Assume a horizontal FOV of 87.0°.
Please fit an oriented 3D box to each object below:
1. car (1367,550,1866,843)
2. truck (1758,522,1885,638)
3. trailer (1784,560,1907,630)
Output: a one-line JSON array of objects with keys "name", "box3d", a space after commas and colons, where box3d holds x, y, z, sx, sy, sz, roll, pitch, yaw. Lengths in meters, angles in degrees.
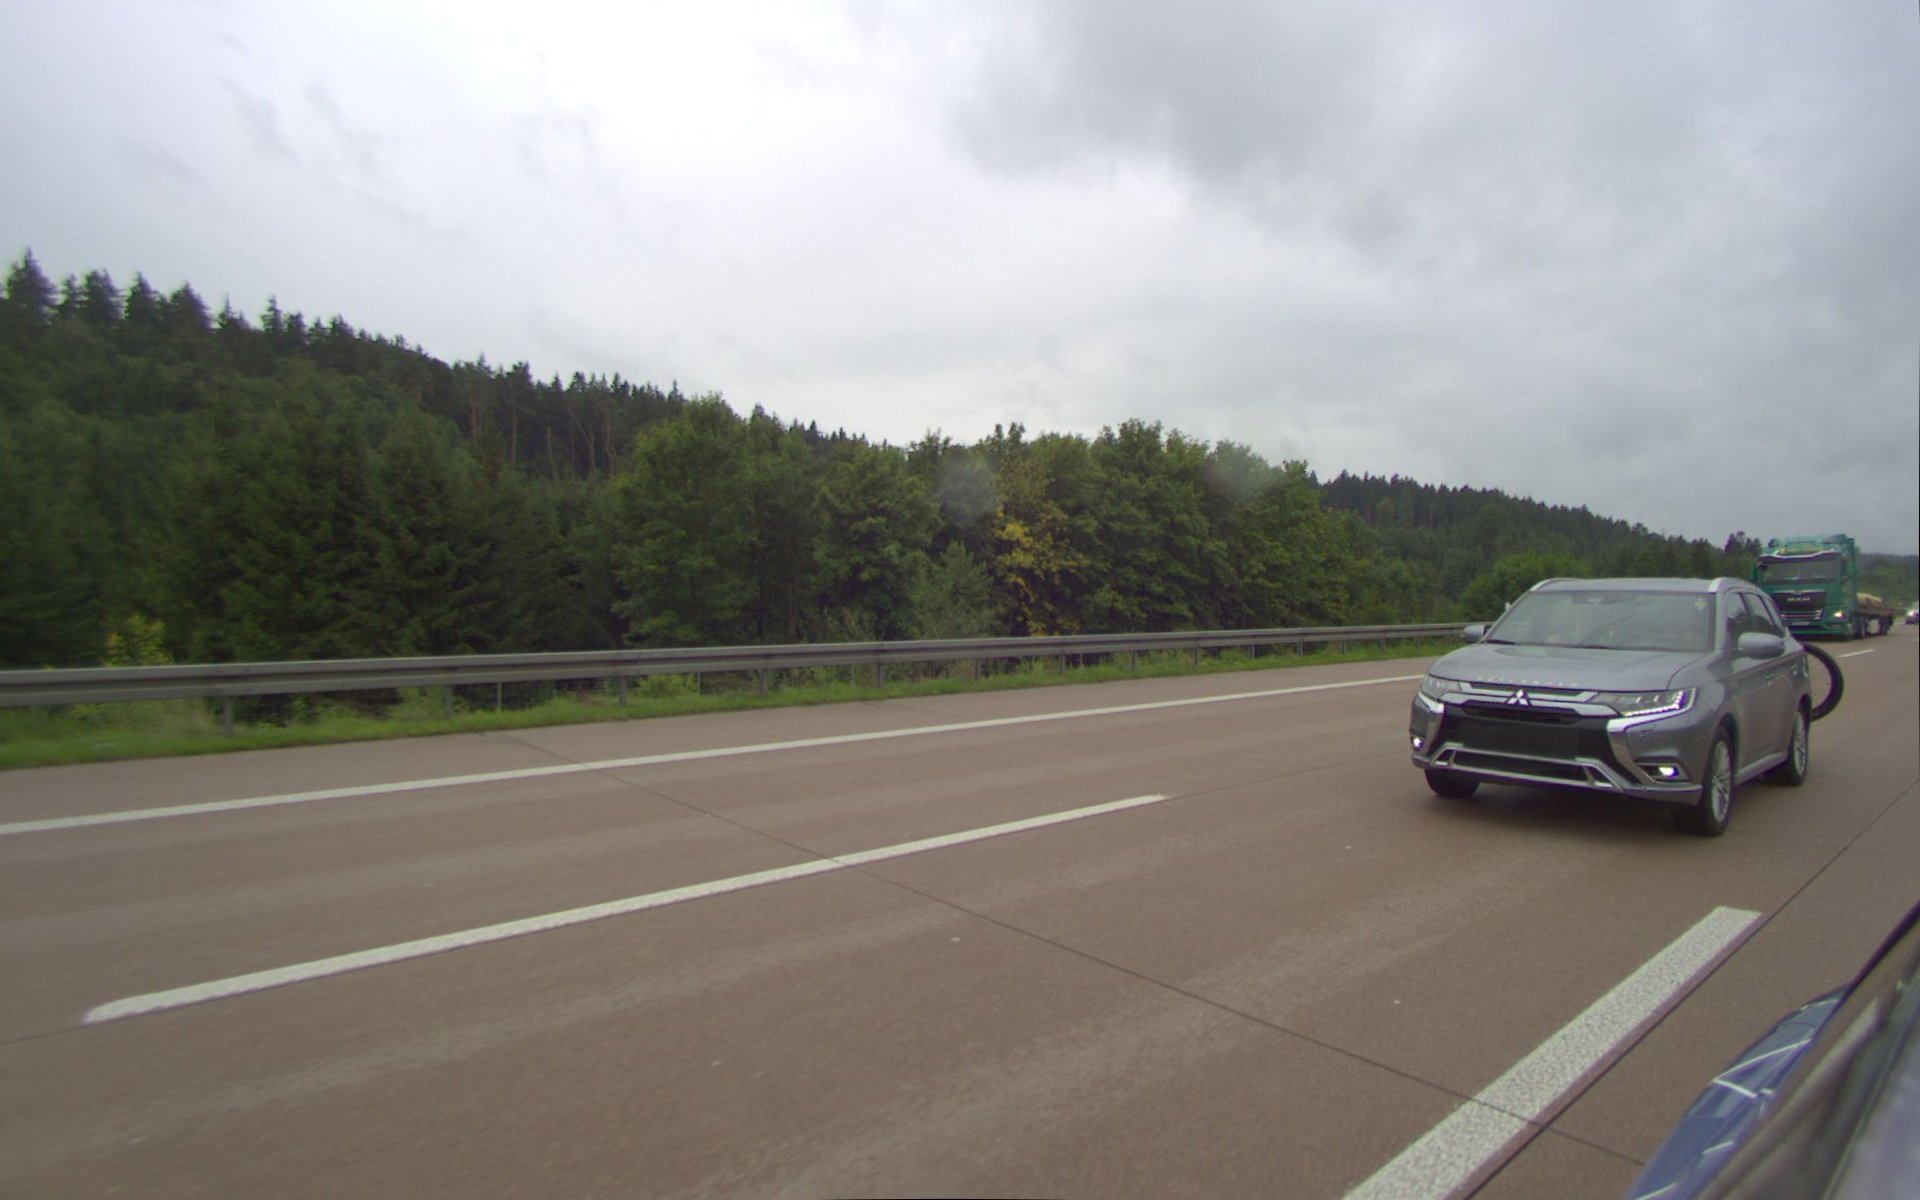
[{"name": "car", "box3d": [5.637, 0.464, 8.243, 5.721, 1.612, 1.996, -2, 1, -42]}, {"name": "truck", "box3d": [32.802, -0.763, 38.450, 6.872, 4.014, 2.900, -2, 1, -43]}, {"name": "trailer", "box3d": [38.516, -0.234, 43.839, 11.206, 2.709, 2.884, 0, 0, -43]}]
